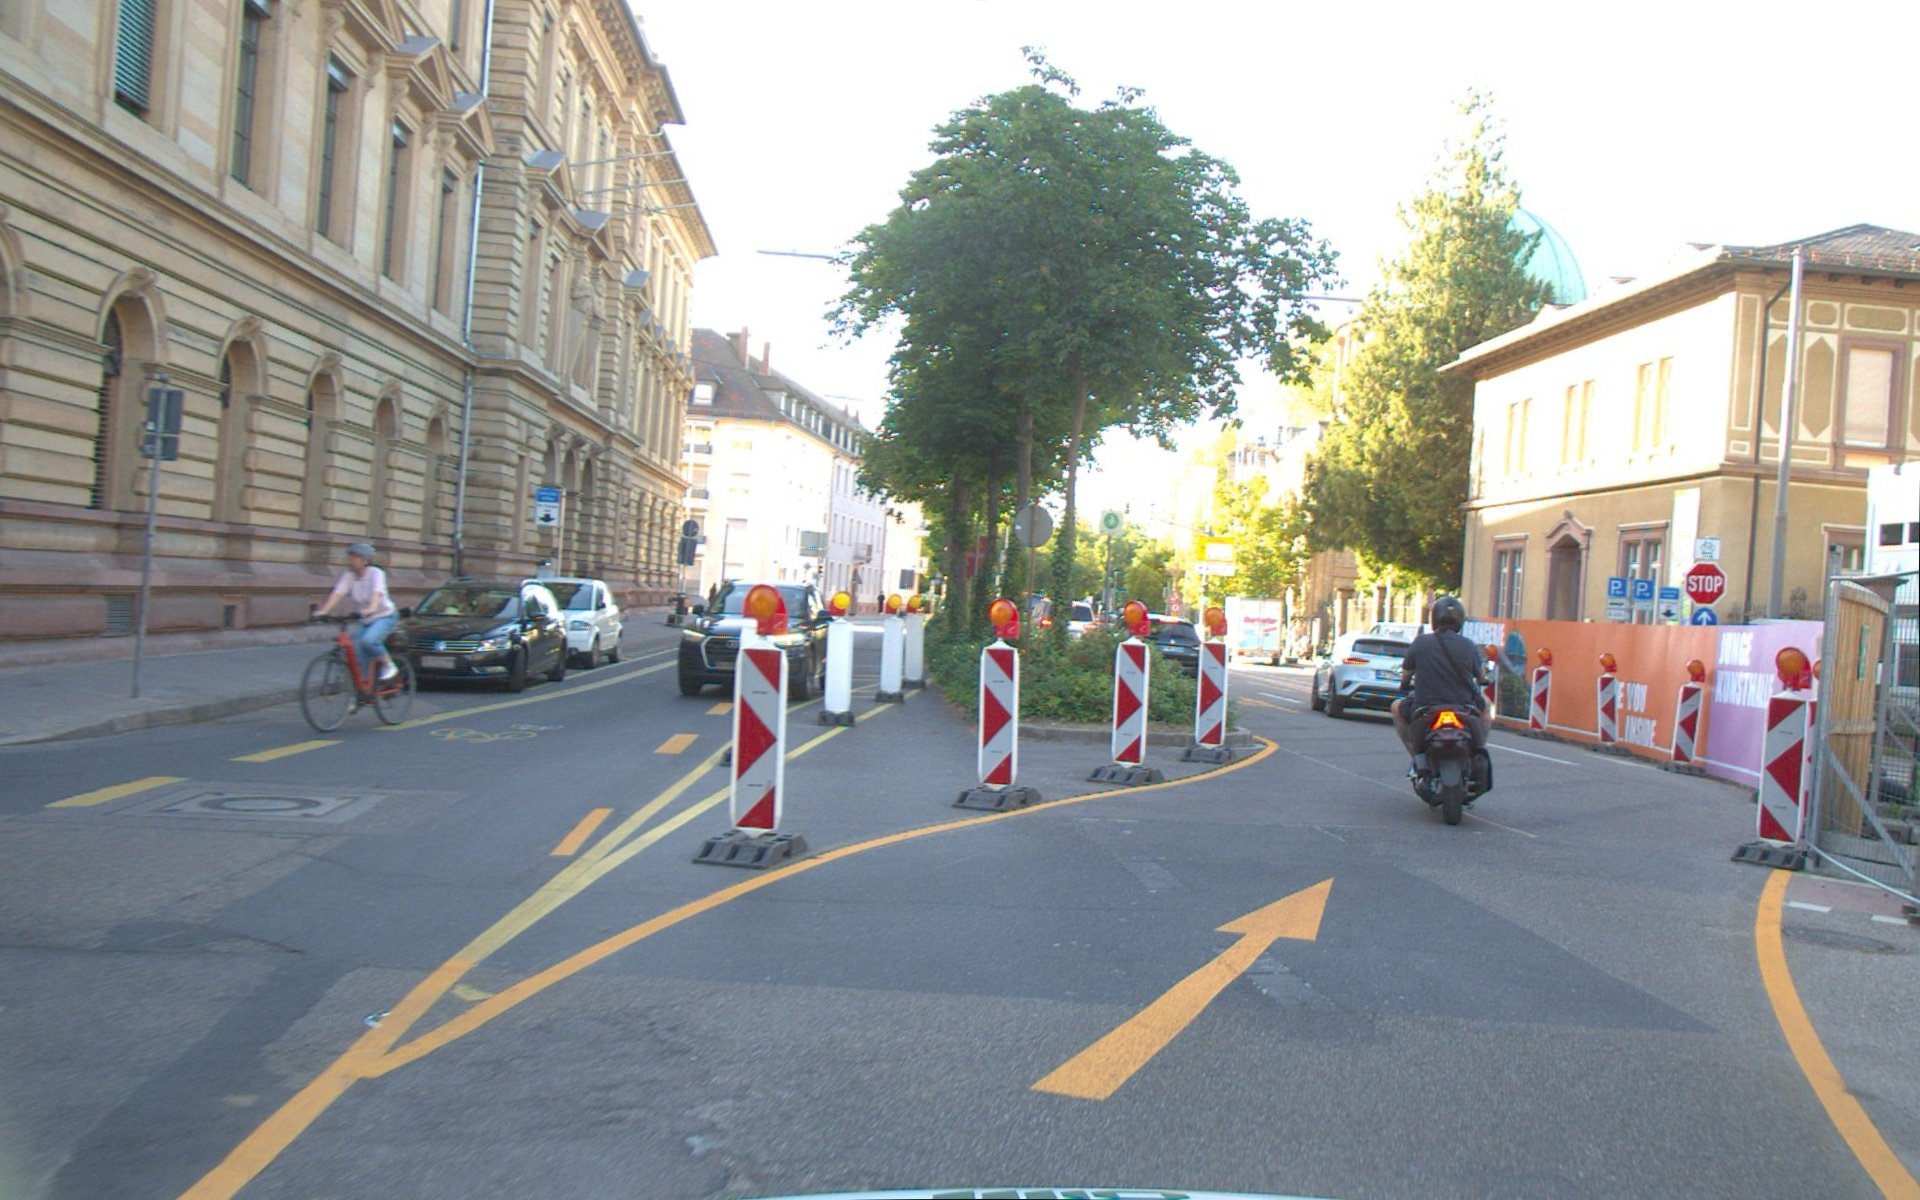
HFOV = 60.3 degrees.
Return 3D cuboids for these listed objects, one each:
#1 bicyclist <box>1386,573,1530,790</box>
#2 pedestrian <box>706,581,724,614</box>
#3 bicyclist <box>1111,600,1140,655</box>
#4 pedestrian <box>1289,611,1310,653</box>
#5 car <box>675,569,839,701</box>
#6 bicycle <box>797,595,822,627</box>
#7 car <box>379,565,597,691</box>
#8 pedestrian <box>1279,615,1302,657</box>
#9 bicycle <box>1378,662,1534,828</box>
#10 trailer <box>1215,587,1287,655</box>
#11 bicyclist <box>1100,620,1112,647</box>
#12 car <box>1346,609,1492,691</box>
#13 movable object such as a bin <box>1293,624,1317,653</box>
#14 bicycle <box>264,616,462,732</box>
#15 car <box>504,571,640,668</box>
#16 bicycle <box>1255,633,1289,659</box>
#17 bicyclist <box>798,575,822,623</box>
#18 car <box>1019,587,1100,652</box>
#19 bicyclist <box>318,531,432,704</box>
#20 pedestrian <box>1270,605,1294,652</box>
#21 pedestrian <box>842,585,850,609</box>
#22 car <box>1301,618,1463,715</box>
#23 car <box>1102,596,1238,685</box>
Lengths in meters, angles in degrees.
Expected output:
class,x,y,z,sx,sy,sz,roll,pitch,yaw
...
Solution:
class,x,y,z,sx,sy,sz,roll,pitch,yaw
bicyclist,3.914,0.624,13.097,0.849,1.549,1.232,6,0,11
pedestrian,-12.434,-0.120,84.116,0.619,1.610,0.818,6,0,0
bicyclist,5.217,0.869,52.191,0.659,1.681,0.887,5,0,-2
pedestrian,14.299,1.331,69.674,0.669,1.731,0.693,3,0,-3
car,-2.918,0.463,24.720,1.839,1.699,4.655,3,0,-1
bicycle,-6.010,0.437,66.235,0.863,1.215,2.174,1,0,-2
car,-6.507,0.338,23.347,1.841,1.534,4.642,2,0,-2
pedestrian,14.430,1.579,72.154,0.628,1.799,0.735,3,0,35
bicycle,3.880,1.087,13.138,0.852,1.060,2.455,5,0,11
trailer,11.723,0.810,66.911,2.037,2.572,4.491,2,0,-1
bicyclist,9.462,2.151,107.124,0.623,1.642,1.284,5,0,2
car,12.967,1.356,47.145,1.976,1.979,5.473,5,0,-7
movable object such as a bin,14.355,1.581,68.761,0.697,1.137,1.050,2,0,-4
bicycle,-5.715,0.681,15.977,0.624,1.008,2.127,3,0,16
car,-6.969,0.326,30.041,1.634,1.534,3.844,4,0,-3
bicycle,14.263,2.099,75.596,1.436,1.057,0.479,3,0,-2
bicyclist,-6.004,-0.040,66.144,0.863,1.866,1.285,1,0,-2
car,2.988,0.569,50.790,1.951,1.780,4.745,4,0,-2
bicyclist,-5.670,0.167,16.053,0.628,1.605,0.764,3,0,17
pedestrian,13.517,1.191,69.485,0.701,1.927,0.889,3,0,-4
pedestrian,-8.342,-0.207,121.271,0.470,1.686,0.472,3,0,3
car,7.354,1.109,29.212,1.952,1.478,4.001,3,0,3
car,4.521,0.824,36.377,1.955,1.686,4.732,4,0,-4
